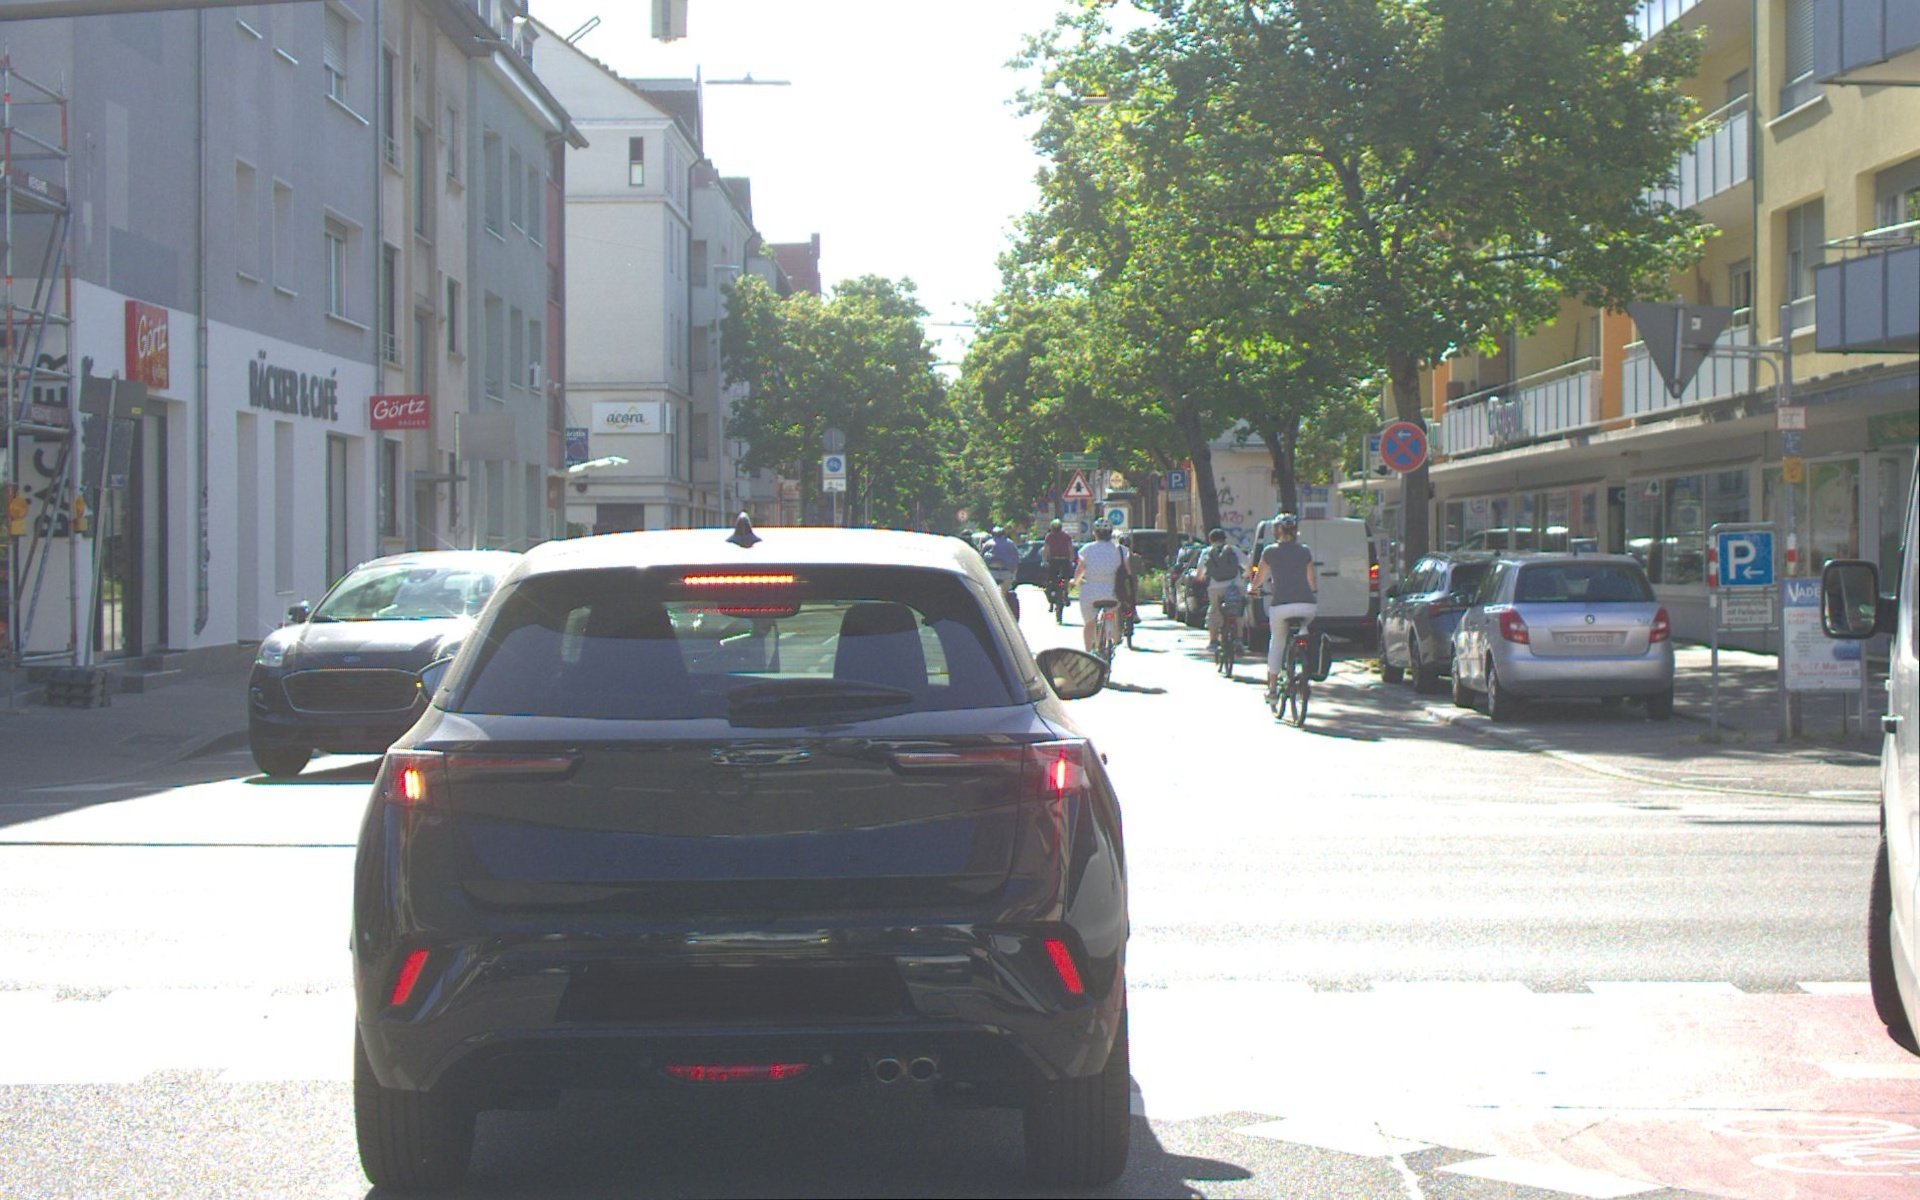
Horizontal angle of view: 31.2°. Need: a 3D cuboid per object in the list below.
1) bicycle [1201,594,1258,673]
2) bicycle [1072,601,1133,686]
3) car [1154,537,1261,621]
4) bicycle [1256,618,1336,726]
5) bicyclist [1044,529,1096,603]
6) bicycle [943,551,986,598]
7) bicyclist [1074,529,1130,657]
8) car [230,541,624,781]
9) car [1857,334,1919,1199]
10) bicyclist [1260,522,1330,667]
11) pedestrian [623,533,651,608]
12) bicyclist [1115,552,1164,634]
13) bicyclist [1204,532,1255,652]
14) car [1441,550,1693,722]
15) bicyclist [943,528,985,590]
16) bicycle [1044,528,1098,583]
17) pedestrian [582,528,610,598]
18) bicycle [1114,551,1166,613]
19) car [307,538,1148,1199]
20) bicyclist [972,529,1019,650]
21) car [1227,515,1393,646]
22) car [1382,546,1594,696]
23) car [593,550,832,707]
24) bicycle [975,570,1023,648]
[{"bbox_3d":[3.145,0.381,40.196,0.547,0.863,1.876,0,1,1],"label":"bicycle"},{"bbox_3d":[1.545,0.459,37.424,0.620,0.863,1.876,0,1,1],"label":"bicycle"},{"bbox_3d":[4.472,-0.396,62.544,1.712,1.478,3.381,0,1,0],"label":"car"},{"bbox_3d":[2.941,0.618,30.239,0.547,0.863,1.876,0,1,1],"label":"bicycle"},{"bbox_3d":[2.012,-0.625,62.834,0.856,1.310,1.210,2,1,-1],"label":"bicyclist"},{"bbox_3d":[0.089,-0.560,74.499,0.856,0.941,2.308,2,1,-1],"label":"bicycle"},{"bbox_3d":[1.537,-0.087,37.355,0.588,1.378,0.823,0,1,1],"label":"bicyclist"},{"bbox_3d":[-3.696,0.378,24.546,1.592,1.560,4.088,-1,1,9],"label":"car"},{"bbox_3d":[3.277,0.428,8.372,1.969,1.933,5.052,2,1,14],"label":"car"},{"bbox_3d":[2.940,-0.060,30.182,0.547,1.257,0.803,0,1,1],"label":"bicyclist"},{"bbox_3d":[-6.793,-0.620,72.360,0.577,1.577,0.708,0,1,-5],"label":"pedestrian"},{"bbox_3d":[2.622,-0.109,50.257,0.692,1.189,0.595,0,1,1],"label":"bicyclist"},{"bbox_3d":[3.139,-0.102,40.074,0.547,1.378,0.823,0,1,1],"label":"bicyclist"},{"bbox_3d":[5.553,0.287,31.810,1.712,1.478,3.480,0,1,0],"label":"car"},{"bbox_3d":[0.090,-0.895,74.569,0.856,1.310,1.210,2,1,-1],"label":"bicyclist"},{"bbox_3d":[2.017,-0.823,62.610,0.856,0.941,2.308,2,1,-1],"label":"bicycle"},{"bbox_3d":[-7.673,-0.777,72.517,0.577,1.462,0.703,0,1,-5],"label":"pedestrian"},{"bbox_3d":[2.616,-0.271,50.132,0.691,0.863,1.876,0,1,1],"label":"bicycle"},{"bbox_3d":[-0.505,0.617,9.218,1.762,1.553,4.000,0,1,0],"label":"car"},{"bbox_3d":[0.492,-0.156,48.015,0.632,1.663,1.050,-1,1,0],"label":"bicyclist"},{"bbox_3d":[5.072,-0.323,50.381,2.046,1.840,4.584,0,1,1],"label":"car"},{"bbox_3d":[5.512,0.185,36.226,1.712,1.478,3.381,0,1,0],"label":"car"},{"bbox_3d":[-2.443,0.243,34.950,1.805,1.408,4.425,-2,1,4],"label":"car"},{"bbox_3d":[0.537,0.118,48.274,0.632,1.037,1.795,-1,1,0],"label":"bicycle"}]
